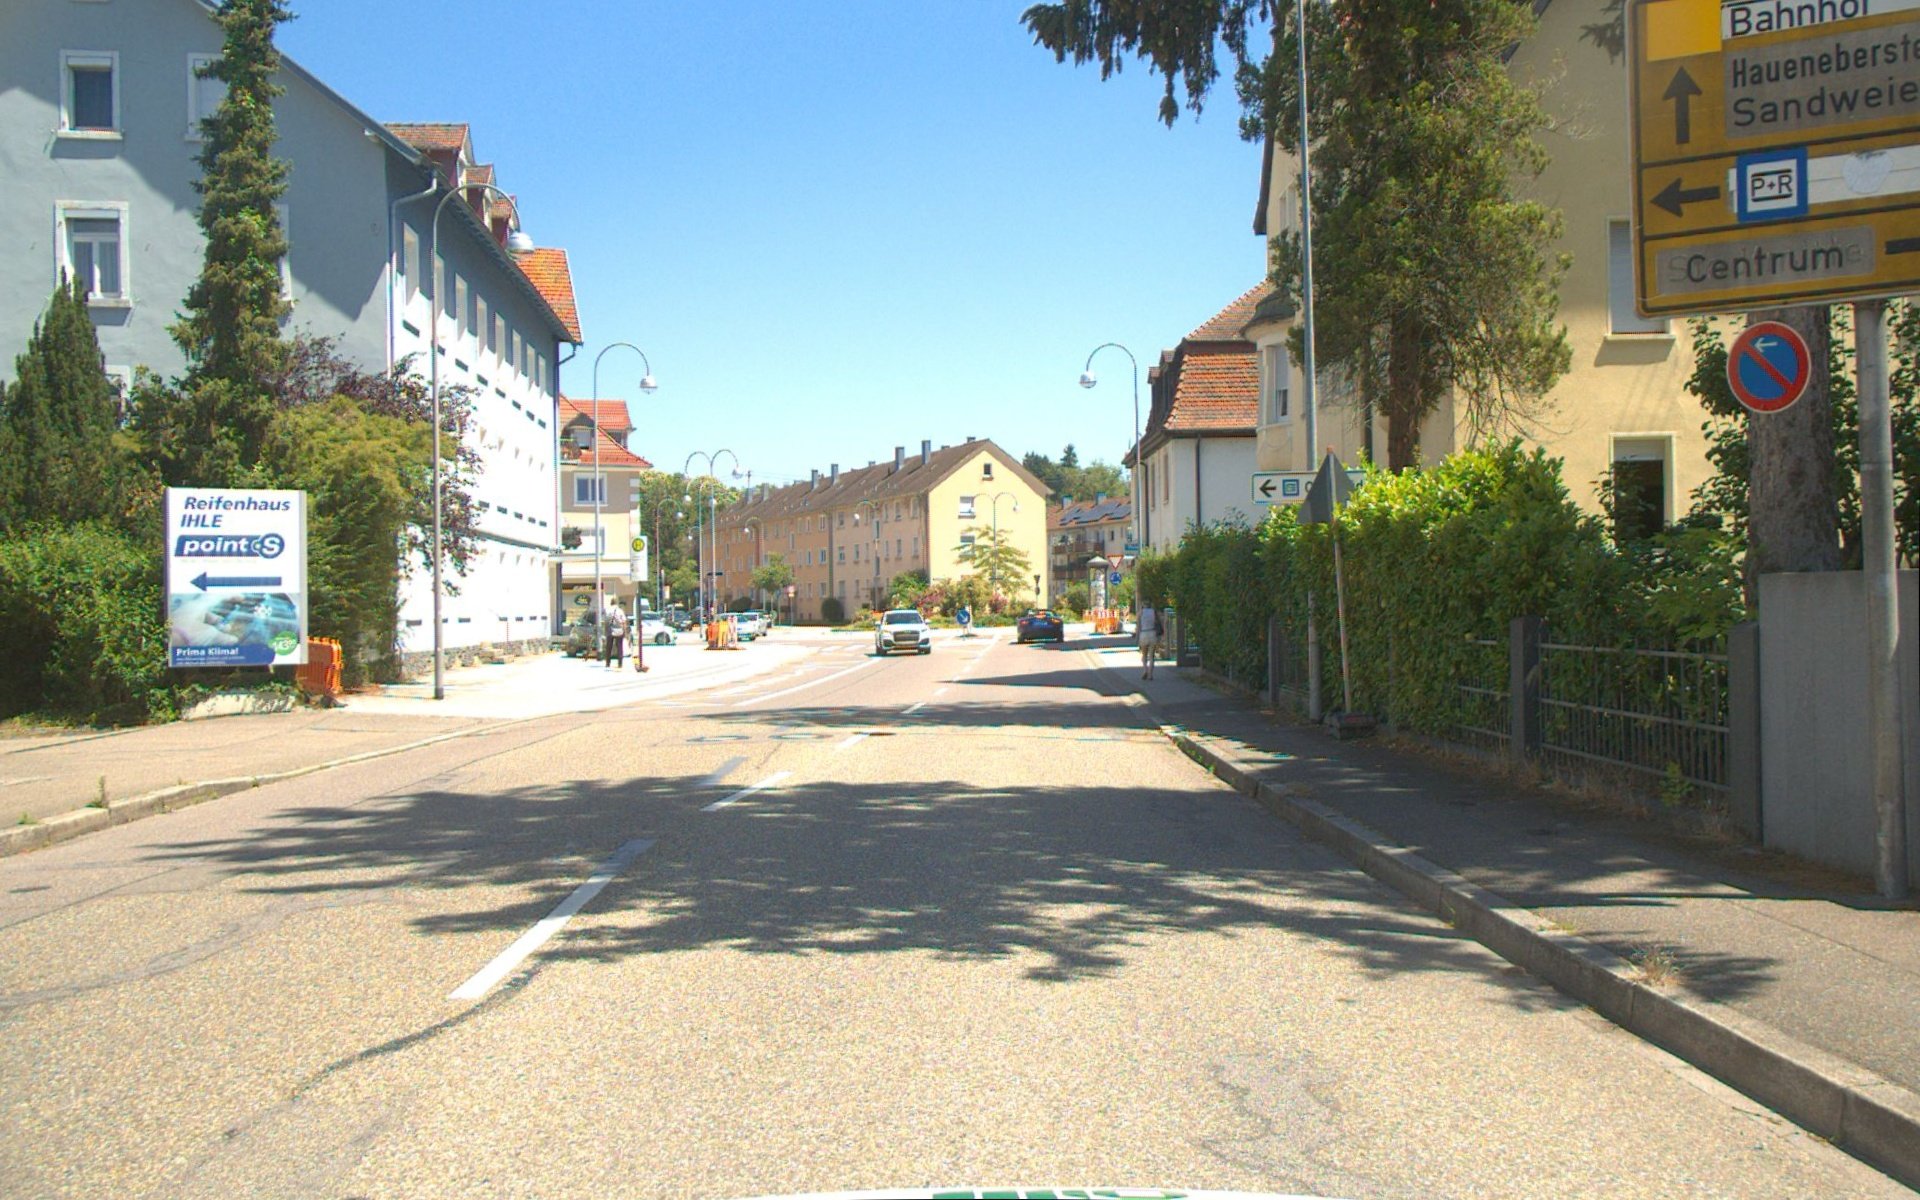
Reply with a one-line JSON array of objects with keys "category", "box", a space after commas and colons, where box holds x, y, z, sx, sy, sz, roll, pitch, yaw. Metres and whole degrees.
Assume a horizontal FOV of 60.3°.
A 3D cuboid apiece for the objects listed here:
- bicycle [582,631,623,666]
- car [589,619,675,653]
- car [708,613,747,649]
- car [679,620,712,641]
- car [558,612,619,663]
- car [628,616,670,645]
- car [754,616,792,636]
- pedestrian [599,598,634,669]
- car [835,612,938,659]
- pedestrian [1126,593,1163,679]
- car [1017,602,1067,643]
[{"category": "bicycle", "box": [-10.550, 1.429, 48.831, 0.485, 0.994, 1.974, 4, -1, 7]}, {"category": "car", "box": [-16.013, 1.779, 80.977, 4.040, 1.578, 1.783, 1, -1, -10]}, {"category": "car", "box": [-11.834, 1.585, 84.113, 1.749, 1.778, 4.117, 1, -1, -11]}, {"category": "car", "box": [-23.562, 2.749, 147.278, 1.790, 1.825, 3.966, 2, -2, -26]}, {"category": "car", "box": [-11.776, 1.214, 52.602, 1.548, 1.561, 3.768, 0, -2, -7]}, {"category": "car", "box": [-19.207, 1.891, 102.017, 1.750, 1.715, 4.665, 0, -1, -21]}, {"category": "car", "box": [-14.960, 2.092, 132.287, 1.790, 1.526, 3.966, 2, -2, -26]}, {"category": "pedestrian", "box": [-9.293, 0.909, 44.759, 0.741, 1.880, 0.771, 3, -2, -5]}, {"category": "car", "box": [-2.602, 1.275, 58.036, 1.806, 1.557, 3.899, 2, -3, -36]}, {"category": "pedestrian", "box": [3.668, 0.712, 32.914, 0.610, 1.673, 0.772, -1, -1, -1]}, {"category": "car", "box": [3.294, 0.948, 67.164, 1.832, 1.557, 4.506, 0, -2, 0]}]
